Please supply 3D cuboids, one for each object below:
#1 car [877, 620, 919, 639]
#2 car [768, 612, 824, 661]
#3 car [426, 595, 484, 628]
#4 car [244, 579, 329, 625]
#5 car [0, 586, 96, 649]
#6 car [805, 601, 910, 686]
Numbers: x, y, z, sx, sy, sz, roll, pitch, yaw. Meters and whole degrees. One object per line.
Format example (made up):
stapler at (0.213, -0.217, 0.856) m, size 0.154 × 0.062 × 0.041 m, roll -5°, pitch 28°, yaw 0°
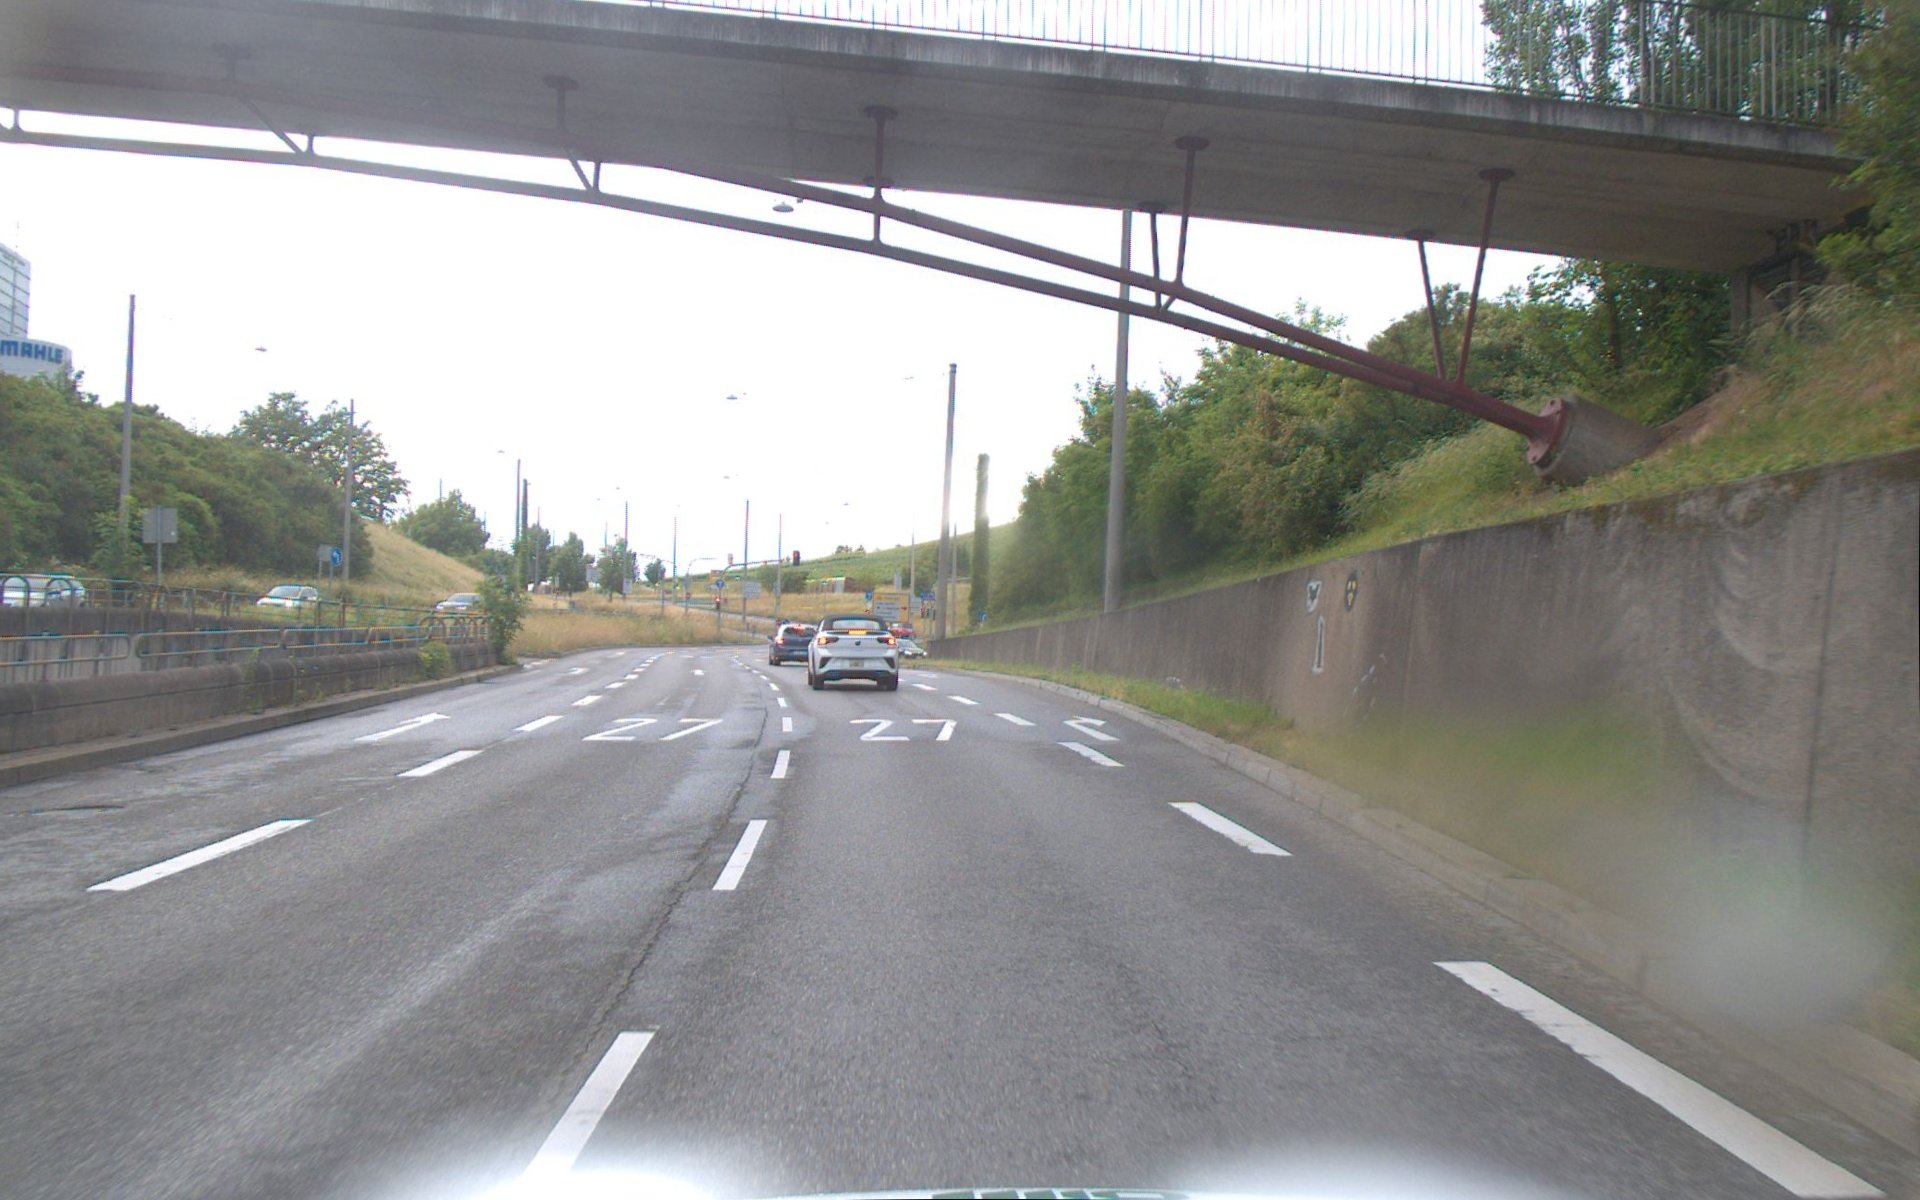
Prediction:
car at (-5.904, 2.827, 157.780) m, size 1.976 × 1.742 × 4.510 m, roll 1°, pitch 0°, yaw -33°
car at (-5.876, 1.336, 59.451) m, size 1.889 × 1.627 × 4.056 m, roll 2°, pitch -2°, yaw -5°
car at (-28.147, 0.675, 92.357) m, size 1.954 × 1.666 × 4.718 m, roll 4°, pitch -2°, yaw -4°
car at (-29.205, 0.106, 71.910) m, size 1.954 × 1.867 × 4.627 m, roll 2°, pitch -1°, yaw -3°
car at (-27.255, 0.522, 48.482) m, size 1.957 × 1.751 × 4.694 m, roll -1°, pitch 0°, yaw -9°
car at (-2.227, 0.929, 34.944) m, size 1.958 × 1.606 × 4.119 m, roll 3°, pitch -2°, yaw -6°
